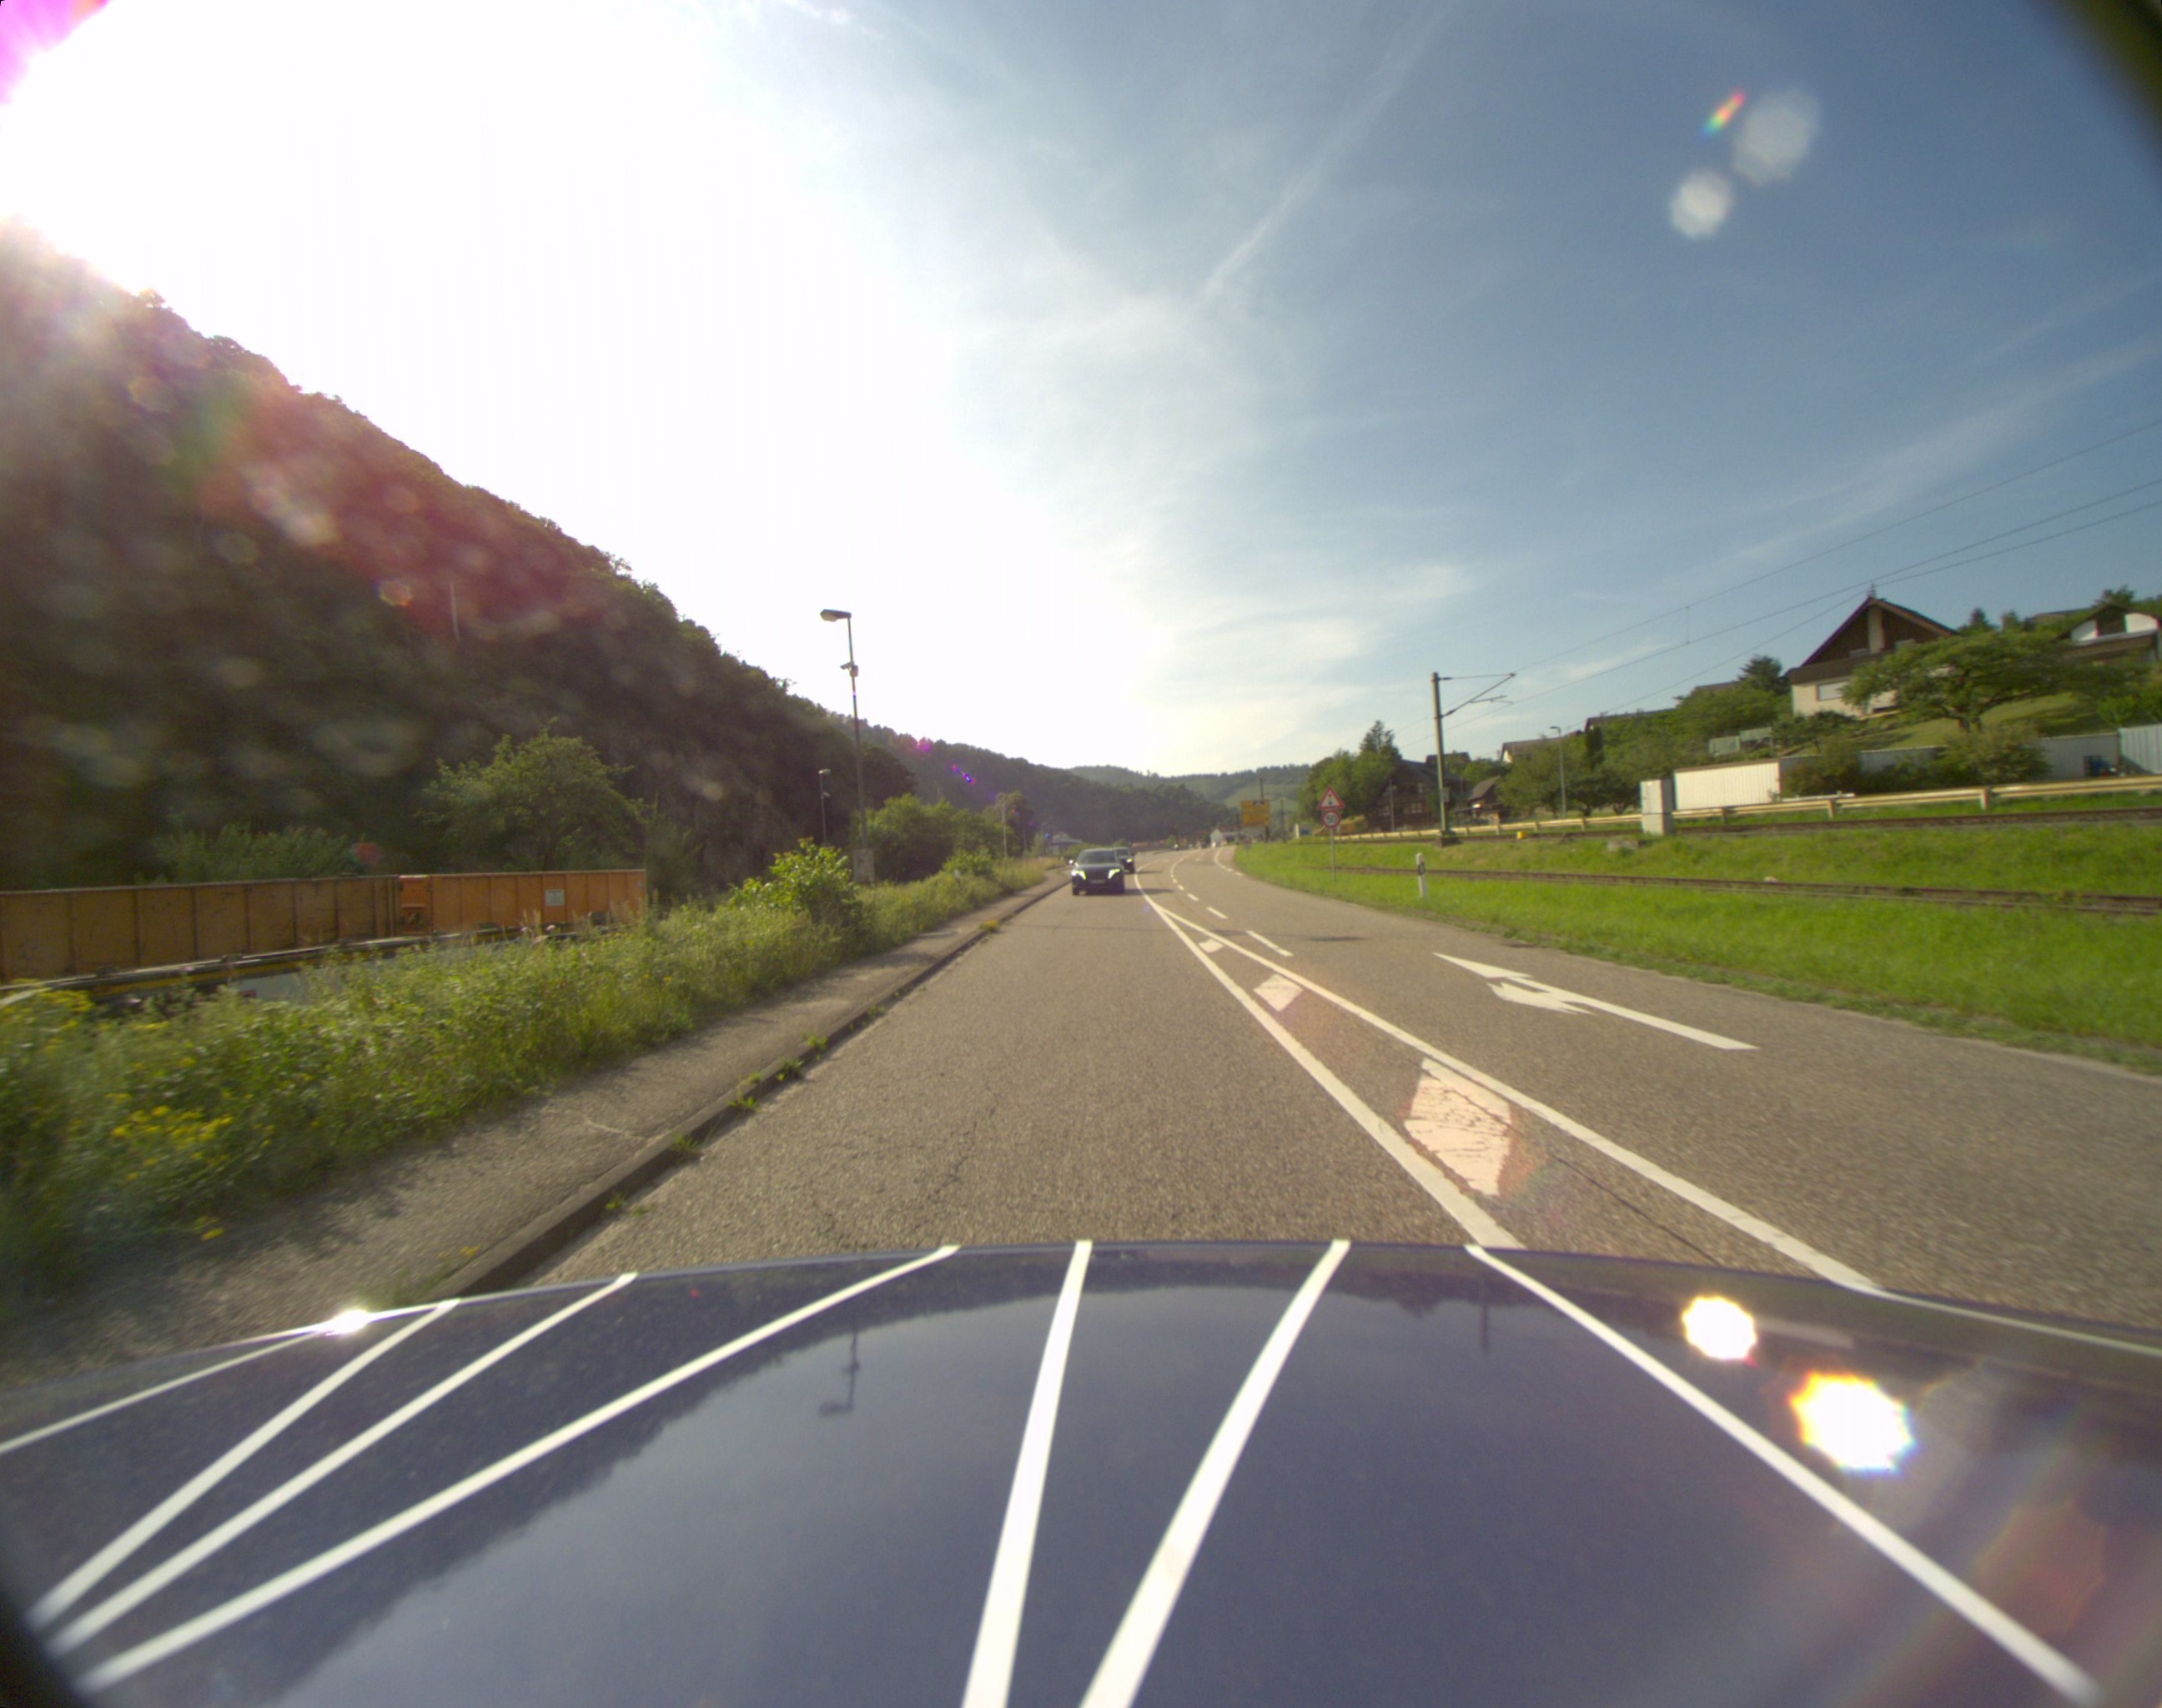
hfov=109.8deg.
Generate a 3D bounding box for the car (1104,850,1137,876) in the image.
[{"bbox_3d":[2.495,0.531,48.776,1.919,1.455,4.000,-5,0,1],"label":"car"}]

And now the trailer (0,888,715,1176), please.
[{"bbox_3d":[-8.614,1.555,9.758,2.799,1.466,9.887,-6,0,1],"label":"trailer"}]

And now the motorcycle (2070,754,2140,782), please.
[{"bbox_3d":[43.801,-3.672,32.530,0.664,0.987,1.744,-5,0,4],"label":"motorcycle"}]

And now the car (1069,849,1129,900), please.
[{"bbox_3d":[0.785,0.711,28.820,1.998,1.661,5.512,-3,0,4],"label":"car"}]

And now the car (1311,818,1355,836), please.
[{"bbox_3d":[44.640,-4.771,134.392,7.072,2.442,2.952,-5,0,22],"label":"car"}]
